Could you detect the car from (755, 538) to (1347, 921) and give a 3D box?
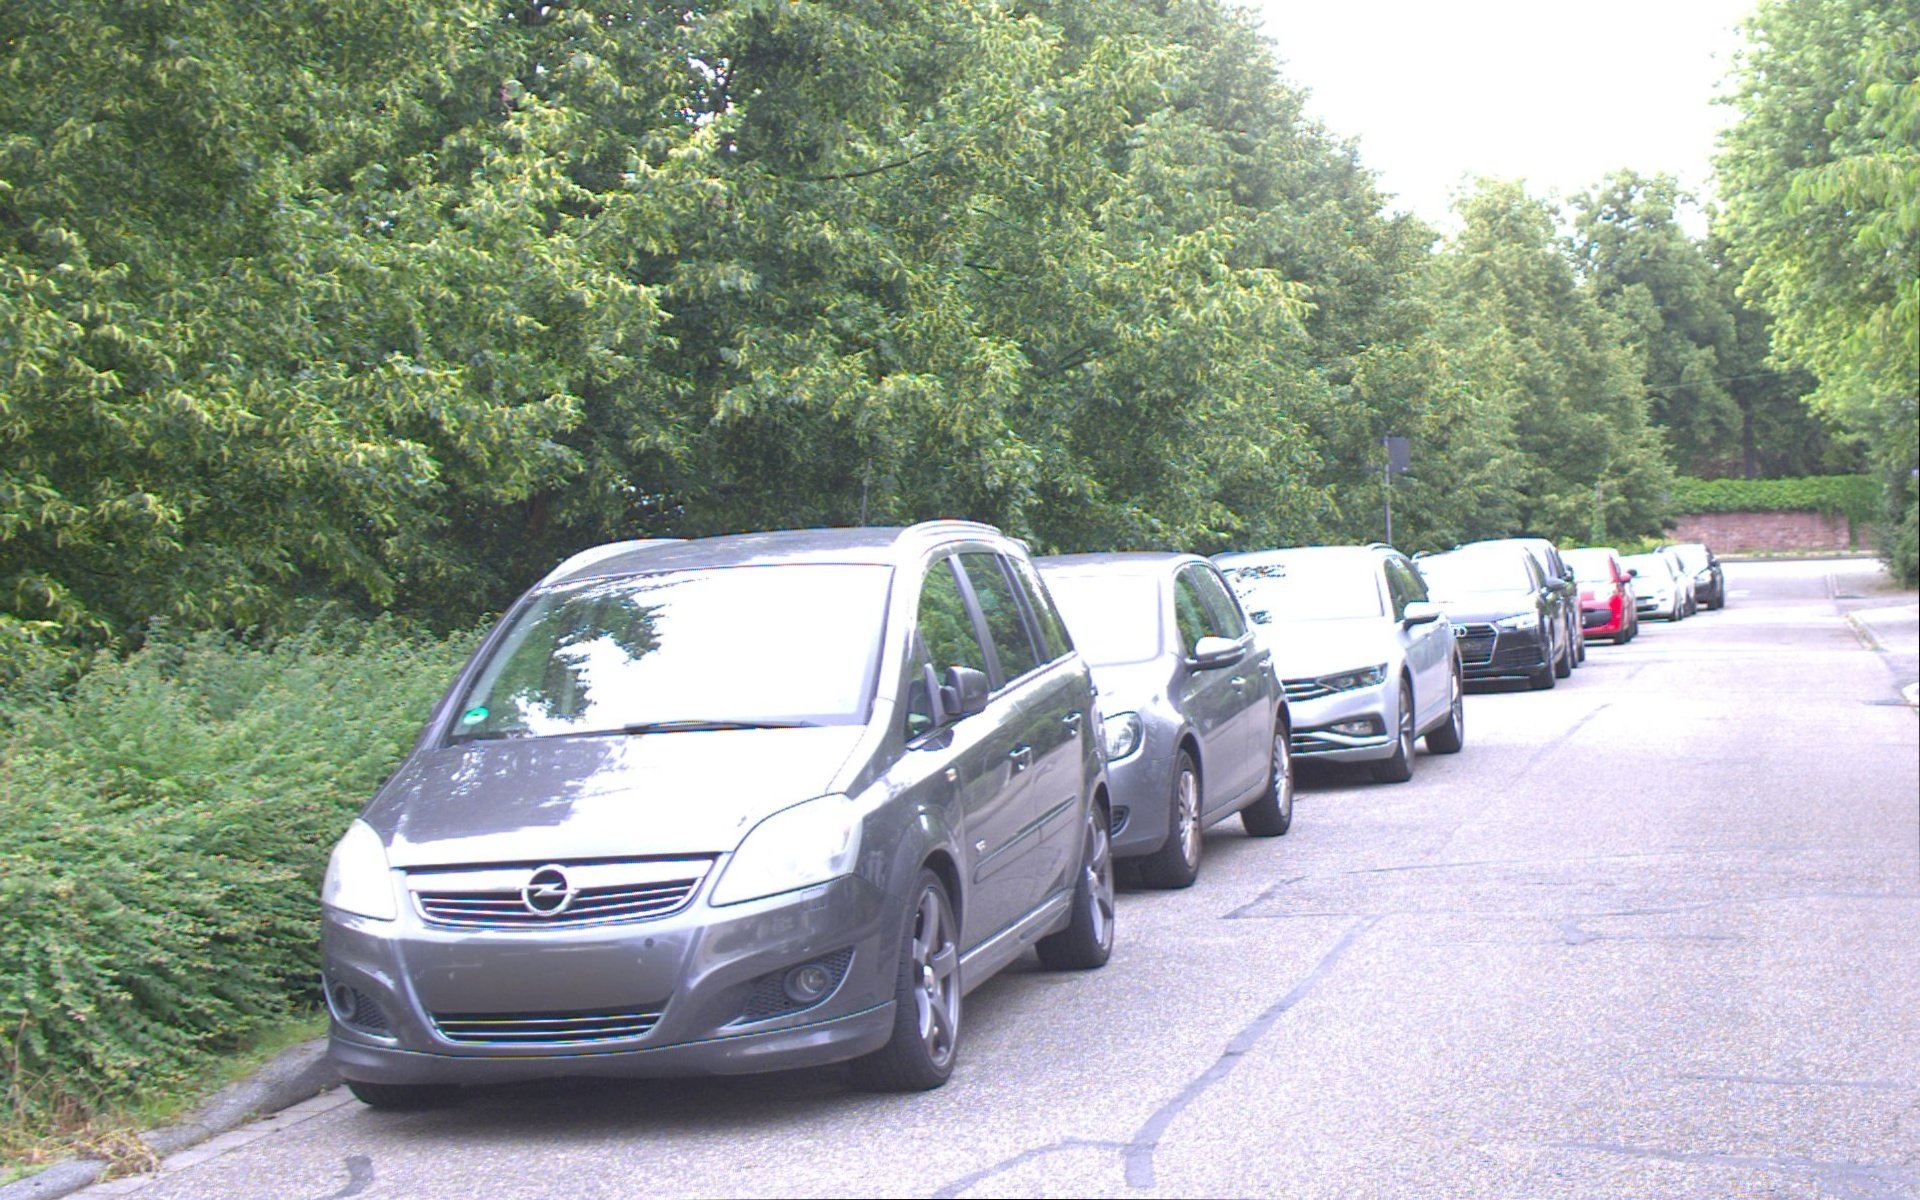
[{"bbox_3d":[0.595,0.517,16.399,1.758,1.473,4.303,-4,1,15],"label":"car"}]

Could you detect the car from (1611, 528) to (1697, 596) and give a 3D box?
[{"bbox_3d":[16.392,-0.908,81.124,1.753,1.514,3.998,-2,1,14],"label":"car"}]

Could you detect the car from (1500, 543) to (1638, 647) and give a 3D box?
[{"bbox_3d":[9.475,-0.098,53.270,1.753,1.420,3.998,-3,1,14],"label":"car"}]

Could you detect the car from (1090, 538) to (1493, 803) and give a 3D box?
[{"bbox_3d":[2.256,0.383,22.236,1.777,1.423,4.475,-3,1,15],"label":"car"}]

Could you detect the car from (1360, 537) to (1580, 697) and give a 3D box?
[{"bbox_3d":[5.273,0.135,35.173,1.753,1.420,3.998,-3,1,14],"label":"car"}]

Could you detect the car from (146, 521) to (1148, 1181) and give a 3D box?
[{"bbox_3d":[-0.700,0.603,10.915,1.758,1.588,4.550,-4,1,13],"label":"car"}]

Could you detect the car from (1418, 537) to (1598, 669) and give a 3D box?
[{"bbox_3d":[6.736,0.000,41.988,1.753,1.420,3.998,-3,1,14],"label":"car"}]

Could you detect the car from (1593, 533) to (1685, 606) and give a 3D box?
[{"bbox_3d":[14.822,-0.679,74.909,1.753,1.514,3.998,-1,1,14],"label":"car"}]
